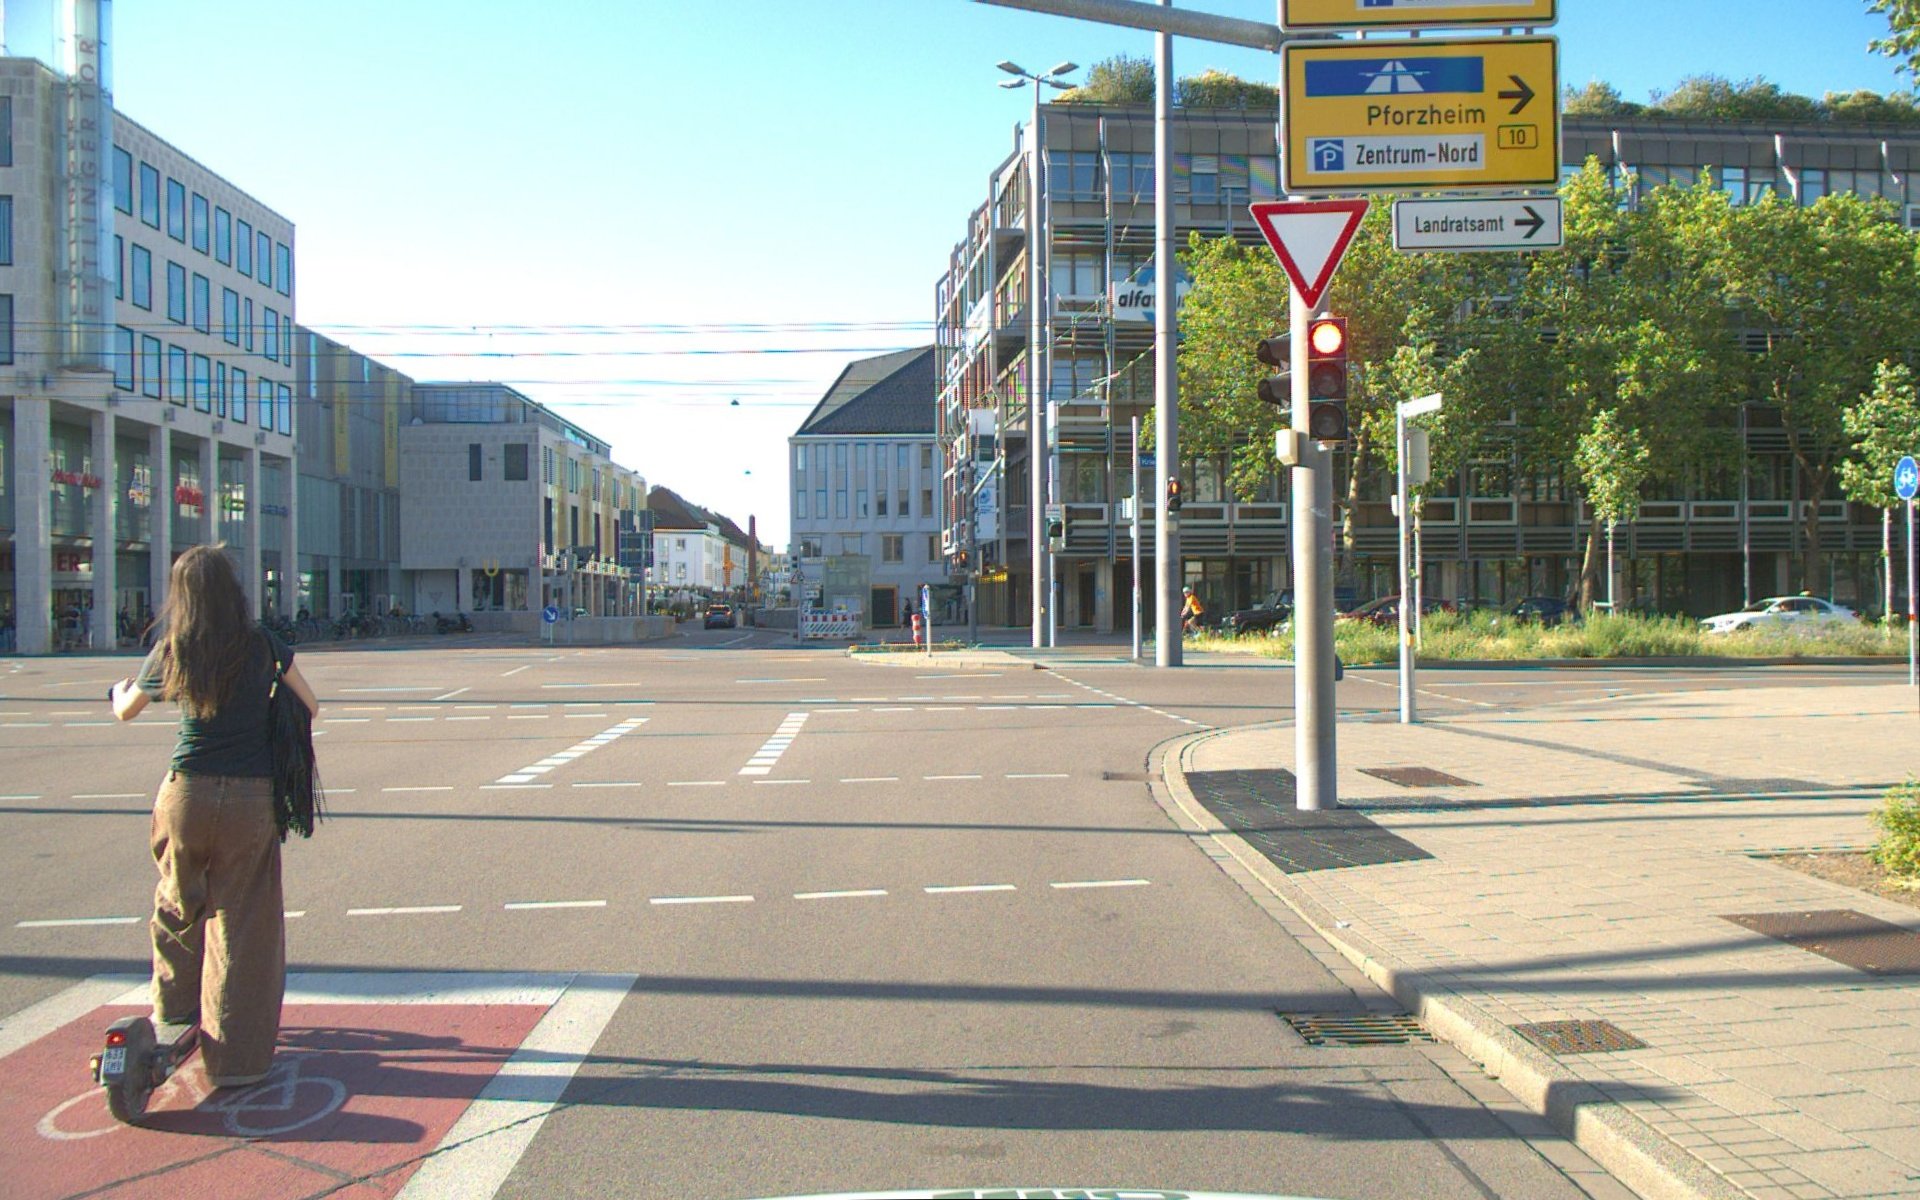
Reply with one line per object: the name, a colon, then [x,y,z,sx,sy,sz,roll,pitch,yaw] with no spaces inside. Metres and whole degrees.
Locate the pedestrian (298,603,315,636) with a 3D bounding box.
pedestrian: [-33.410,0.984,84.569,0.641,1.671,0.693,-1,0,-9]

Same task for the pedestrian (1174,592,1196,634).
pedestrian: [8.994,0.514,66.245,0.715,1.687,0.649,-1,0,-8]

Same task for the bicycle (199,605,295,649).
bicycle: [-29.323,1.113,68.034,3.427,1.726,1.114,-1,0,-10]

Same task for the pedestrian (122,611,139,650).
pedestrian: [-34.859,1.280,69.477,0.472,1.613,0.513,-1,0,-5]

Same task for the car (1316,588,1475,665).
car: [12.231,0.732,46.581,3.908,2.049,1.999,1,0,-3]

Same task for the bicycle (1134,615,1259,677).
bicycle: [6.747,1.301,47.225,3.427,1.688,0.929,-1,0,-10]

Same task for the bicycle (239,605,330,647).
bicycle: [-28.868,1.087,70.714,3.427,1.726,1.114,-1,0,-10]

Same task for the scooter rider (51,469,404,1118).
scooter rider: [-2.178,0.537,5.018,0.713,1.806,0.811,0,0,-1]

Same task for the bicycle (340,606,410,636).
bicycle: [-31.481,1.138,89.020,3.430,1.554,0.984,-1,0,-12]

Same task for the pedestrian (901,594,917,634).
pedestrian: [-2.139,0.578,69.590,0.650,1.687,0.755,-1,0,-4]

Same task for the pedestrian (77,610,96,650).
pedestrian: [-36.192,1.239,68.512,0.472,1.613,0.598,-1,0,-5]

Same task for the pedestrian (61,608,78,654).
pedestrian: [-32.525,1.114,60.406,0.534,1.671,0.545,-1,0,-28]

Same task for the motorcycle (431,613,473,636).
motorcycle: [-29.956,1.435,97.596,2.230,1.341,0.719,-1,0,-6]

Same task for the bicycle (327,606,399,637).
bicycle: [-31.073,1.120,86.129,3.430,1.554,0.984,-1,0,-12]

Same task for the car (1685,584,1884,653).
car: [26.172,0.577,52.578,5.332,2.049,2.096,1,0,-3]

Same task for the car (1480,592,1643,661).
car: [18.827,0.820,51.882,4.359,2.049,1.998,1,0,-6]

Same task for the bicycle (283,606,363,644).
bicycle: [-30.338,1.188,78.868,3.430,1.726,0.984,-1,0,-12]

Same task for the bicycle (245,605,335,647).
bicycle: [-29.099,1.123,71.926,3.427,1.726,1.114,-1,0,-10]

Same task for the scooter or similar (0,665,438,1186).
scooter or similar: [-2.172,0.842,4.948,0.713,1.223,1.664,0,0,-1]

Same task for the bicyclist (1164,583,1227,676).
bicyclist: [6.718,0.832,47.226,1.539,2.625,0.930,-1,0,-10]

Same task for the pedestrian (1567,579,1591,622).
pedestrian: [24.709,0.010,66.026,0.651,1.687,0.740,-1,0,-8]

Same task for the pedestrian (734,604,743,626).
pedestrian: [-14.485,0.971,108.190,0.598,1.436,0.569,-1,0,-7]

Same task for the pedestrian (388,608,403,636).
pedestrian: [-34.460,1.349,100.955,0.684,1.671,0.693,-1,0,-8]

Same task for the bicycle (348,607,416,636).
bicycle: [-31.948,1.198,91.426,3.430,1.554,0.984,-1,0,-12]

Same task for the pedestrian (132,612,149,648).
pedestrian: [-34.793,1.262,70.241,0.472,1.537,0.513,-1,0,-5]

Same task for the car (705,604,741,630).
car: [-15.498,1.096,108.165,2.157,1.635,4.320,-1,0,-6]

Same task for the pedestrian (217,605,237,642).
pedestrian: [-33.087,1.050,74.672,0.776,1.671,0.688,-1,0,-30]

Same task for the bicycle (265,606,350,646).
bicycle: [-29.798,1.178,75.583,3.430,1.726,0.984,-1,0,-12]

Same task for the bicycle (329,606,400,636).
bicycle: [-31.390,1.108,87.246,3.430,1.554,0.984,-1,0,-12]

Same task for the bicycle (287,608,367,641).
bicycle: [-30.543,1.171,79.858,3.430,1.554,0.984,-1,0,-12]

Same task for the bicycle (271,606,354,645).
bicycle: [-30.039,1.179,76.783,3.430,1.726,0.984,-1,0,-12]

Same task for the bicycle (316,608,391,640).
bicycle: [-30.885,1.212,84.268,3.430,1.554,0.984,-1,0,-12]

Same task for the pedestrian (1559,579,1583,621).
pedestrian: [24.698,0.013,66.853,0.651,1.687,0.740,-1,0,-8]

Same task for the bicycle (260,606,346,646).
bicycle: [-29.574,1.168,74.495,3.430,1.726,0.984,-1,0,-12]

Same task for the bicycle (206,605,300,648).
bicycle: [-29.552,1.104,69.214,3.427,1.726,1.114,-1,0,-10]

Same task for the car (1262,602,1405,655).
car: [11.439,0.863,50.818,3.908,1.534,1.867,1,0,-4]

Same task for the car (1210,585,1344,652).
car: [10.304,0.597,53.922,3.908,2.049,1.999,1,0,-3]

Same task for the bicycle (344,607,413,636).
bicycle: [-31.785,1.168,90.402,3.430,1.554,0.984,-1,0,-12]
